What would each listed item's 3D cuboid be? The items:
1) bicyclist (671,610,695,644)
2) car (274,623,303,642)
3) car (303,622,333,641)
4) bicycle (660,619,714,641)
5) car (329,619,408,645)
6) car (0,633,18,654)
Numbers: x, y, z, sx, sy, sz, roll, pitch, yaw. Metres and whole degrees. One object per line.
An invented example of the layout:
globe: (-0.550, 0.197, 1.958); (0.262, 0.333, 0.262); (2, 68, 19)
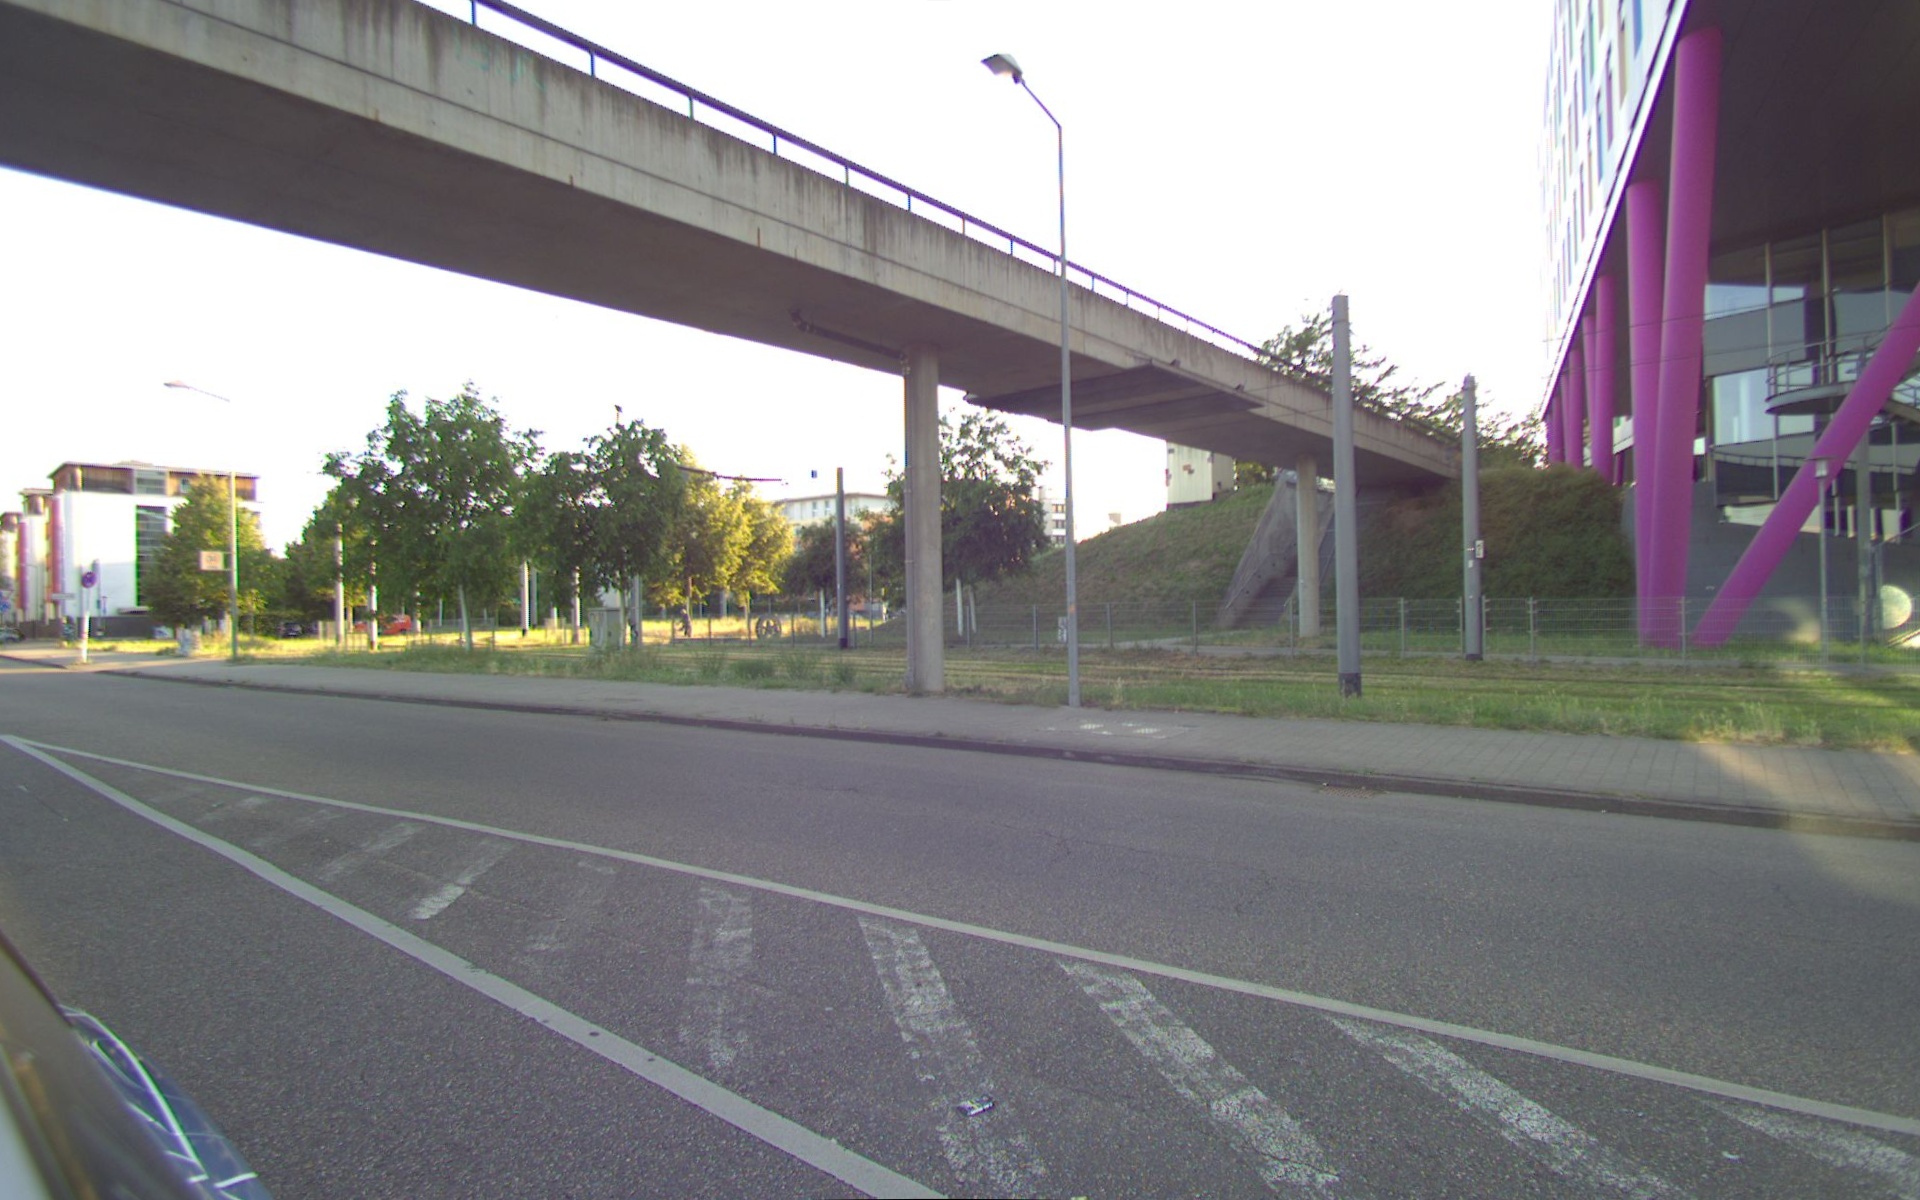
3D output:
bicyclist: (-13.781, 1.325, 50.355); (0.716, 1.644, 0.899); (-2, -1, 35)
car: (-56.894, 2.728, 85.707); (1.913, 1.541, 4.009); (-1, -1, -36)
car: (-55.268, 2.720, 87.059); (1.913, 1.541, 4.009); (-1, -1, -36)
bicycle: (-13.618, 1.485, 50.555); (0.654, 1.016, 2.808); (-2, -1, 37)
car: (-49.480, 2.652, 84.669); (5.439, 2.029, 2.003); (-1, -1, -40)
car: (-80.587, 3.617, 83.584); (2.000, 1.741, 3.944); (-2, -1, 42)
